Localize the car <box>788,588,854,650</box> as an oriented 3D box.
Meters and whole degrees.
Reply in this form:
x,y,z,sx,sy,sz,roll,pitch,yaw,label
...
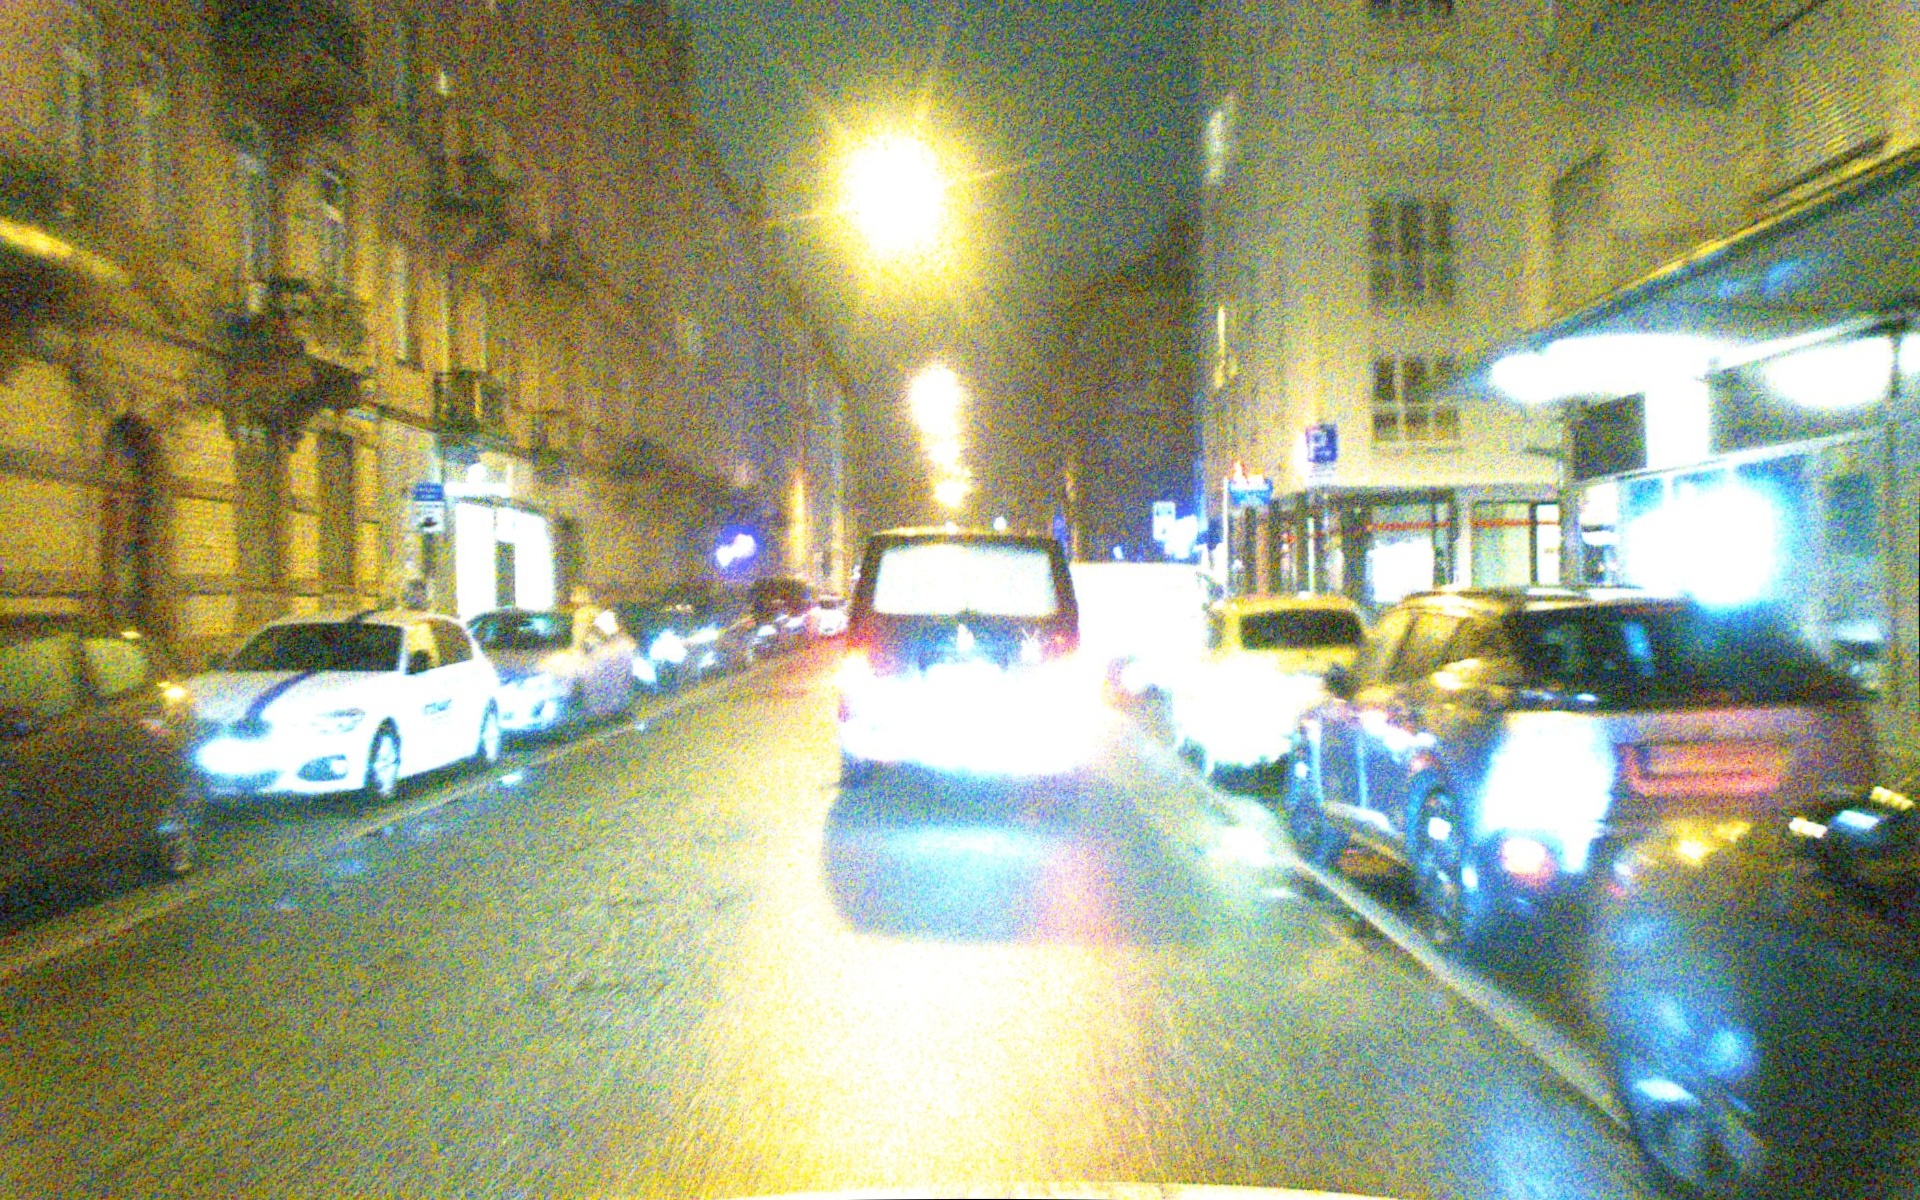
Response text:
x,y,z,sx,sy,sz,roll,pitch,yaw,label
-4.772,0.649,57.455,1.953,2.049,3.999,1,0,-1,car

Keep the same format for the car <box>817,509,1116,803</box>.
x,y,z,sx,sy,sz,roll,pitch,yaw,label
-0.131,0.373,13.793,2.081,2.026,4.596,0,0,-5,car

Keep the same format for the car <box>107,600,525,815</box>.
x,y,z,sx,sy,sz,roll,pitch,yaw,label
-4.930,0.728,13.363,1.655,1.425,4.317,0,0,0,car

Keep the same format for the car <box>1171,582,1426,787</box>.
x,y,z,sx,sy,sz,roll,pitch,yaw,label
2.829,0.670,14.476,1.559,1.570,3.420,0,-1,0,car

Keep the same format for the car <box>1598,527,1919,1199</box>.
x,y,z,sx,sy,sz,roll,pitch,yaw,label
2.695,0.641,2.468,1.717,1.565,4.397,0,-1,-1,car

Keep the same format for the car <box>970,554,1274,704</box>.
x,y,z,sx,sy,sz,roll,pitch,yaw,label
2.466,0.357,24.115,2.090,1.956,4.800,0,0,40,car

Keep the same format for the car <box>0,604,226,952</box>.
x,y,z,sx,sy,sz,roll,pitch,yaw,label
-4.900,0.773,7.504,1.553,1.474,3.503,0,0,0,car

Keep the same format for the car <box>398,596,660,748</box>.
x,y,z,sx,sy,sz,roll,pitch,yaw,label
-4.779,0.726,19.050,1.717,1.474,4.623,1,0,1,car

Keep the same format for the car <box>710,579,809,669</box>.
x,y,z,sx,sy,sz,roll,pitch,yaw,label
-4.814,0.557,40.303,1.953,2.049,3.999,1,0,-1,car

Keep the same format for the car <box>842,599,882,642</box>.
x,y,z,sx,sy,sz,roll,pitch,yaw,label
-4.824,1.011,81.586,1.714,2.049,3.999,1,0,-1,car

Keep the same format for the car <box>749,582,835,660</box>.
x,y,z,sx,sy,sz,roll,pitch,yaw,label
-4.625,0.574,46.048,1.953,2.049,3.999,1,0,0,car

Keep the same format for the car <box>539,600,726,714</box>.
x,y,z,sx,sy,sz,roll,pitch,yaw,label
-4.629,0.764,23.964,1.953,1.474,3.999,1,0,-1,car

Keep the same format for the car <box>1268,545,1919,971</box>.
x,y,z,sx,sy,sz,roll,pitch,yaw,label
2.827,0.633,8.378,1.717,1.636,3.988,0,-1,-1,car

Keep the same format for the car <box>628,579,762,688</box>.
x,y,z,sx,sy,sz,roll,pitch,yaw,label
-4.925,0.604,31.272,1.953,1.895,4.092,1,0,-2,car

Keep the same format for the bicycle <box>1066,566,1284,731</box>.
x,y,z,sx,sy,sz,roll,pitch,yaw,label
2.433,0.550,18.963,2.273,1.667,0.888,-5,-1,0,bicycle
